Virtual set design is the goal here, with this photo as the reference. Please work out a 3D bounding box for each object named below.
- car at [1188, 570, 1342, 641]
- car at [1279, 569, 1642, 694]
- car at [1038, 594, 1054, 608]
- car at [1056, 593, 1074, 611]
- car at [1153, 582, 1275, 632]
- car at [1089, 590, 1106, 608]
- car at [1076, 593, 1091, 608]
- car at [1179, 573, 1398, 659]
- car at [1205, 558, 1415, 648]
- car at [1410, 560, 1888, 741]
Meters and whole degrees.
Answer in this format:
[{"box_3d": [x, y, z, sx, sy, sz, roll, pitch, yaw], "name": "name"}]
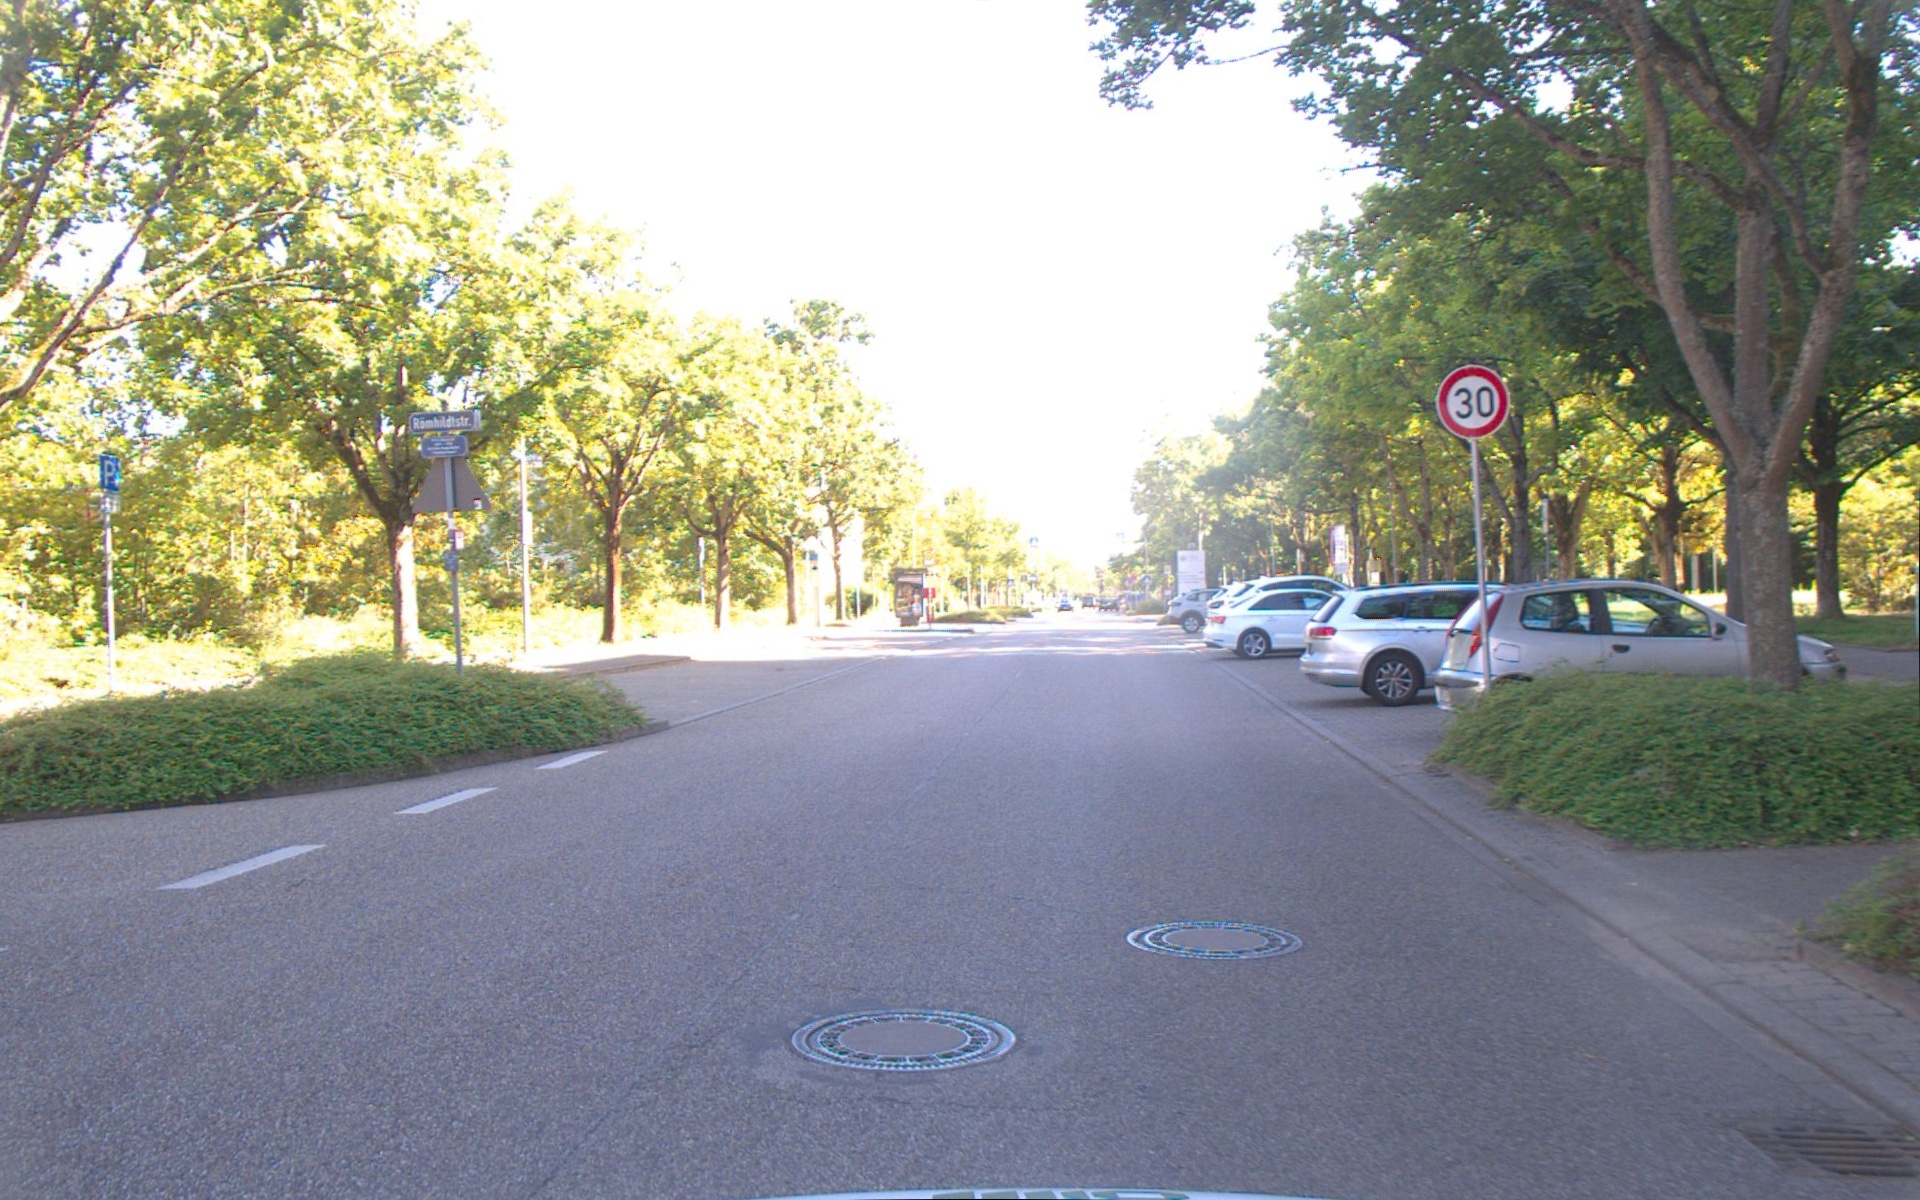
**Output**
[{"box_3d": [7.779, 0.137, 42.430, 3.612, 1.549, 1.651, -4, 0, 3], "name": "car"}, {"box_3d": [6.209, 0.390, 20.960, 4.183, 1.453, 1.829, -1, 0, 9], "name": "car"}, {"box_3d": [11.216, 0.114, 214.938, 1.951, 1.833, 4.002, 0, 0, 5], "name": "car"}, {"box_3d": [10.622, 0.192, 167.028, 1.790, 1.806, 3.742, 0, 0, 5], "name": "car"}, {"box_3d": [9.043, 0.237, 59.159, 4.077, 1.453, 2.001, -4, 0, 4], "name": "car"}, {"box_3d": [16.362, -0.111, 196.502, 1.951, 2.049, 4.002, 0, 0, 5], "name": "car"}, {"box_3d": [17.264, 0.032, 230.805, 1.951, 2.049, 4.002, 0, 0, 5], "name": "car"}, {"box_3d": [6.864, 0.330, 34.874, 4.252, 1.515, 1.739, -4, 0, 3], "name": "car"}, {"box_3d": [7.881, 0.063, 37.502, 4.343, 1.676, 1.817, -4, 0, 3], "name": "car"}, {"box_3d": [6.567, 0.462, 16.117, 3.903, 1.476, 1.718, -3, 0, 5], "name": "car"}]
